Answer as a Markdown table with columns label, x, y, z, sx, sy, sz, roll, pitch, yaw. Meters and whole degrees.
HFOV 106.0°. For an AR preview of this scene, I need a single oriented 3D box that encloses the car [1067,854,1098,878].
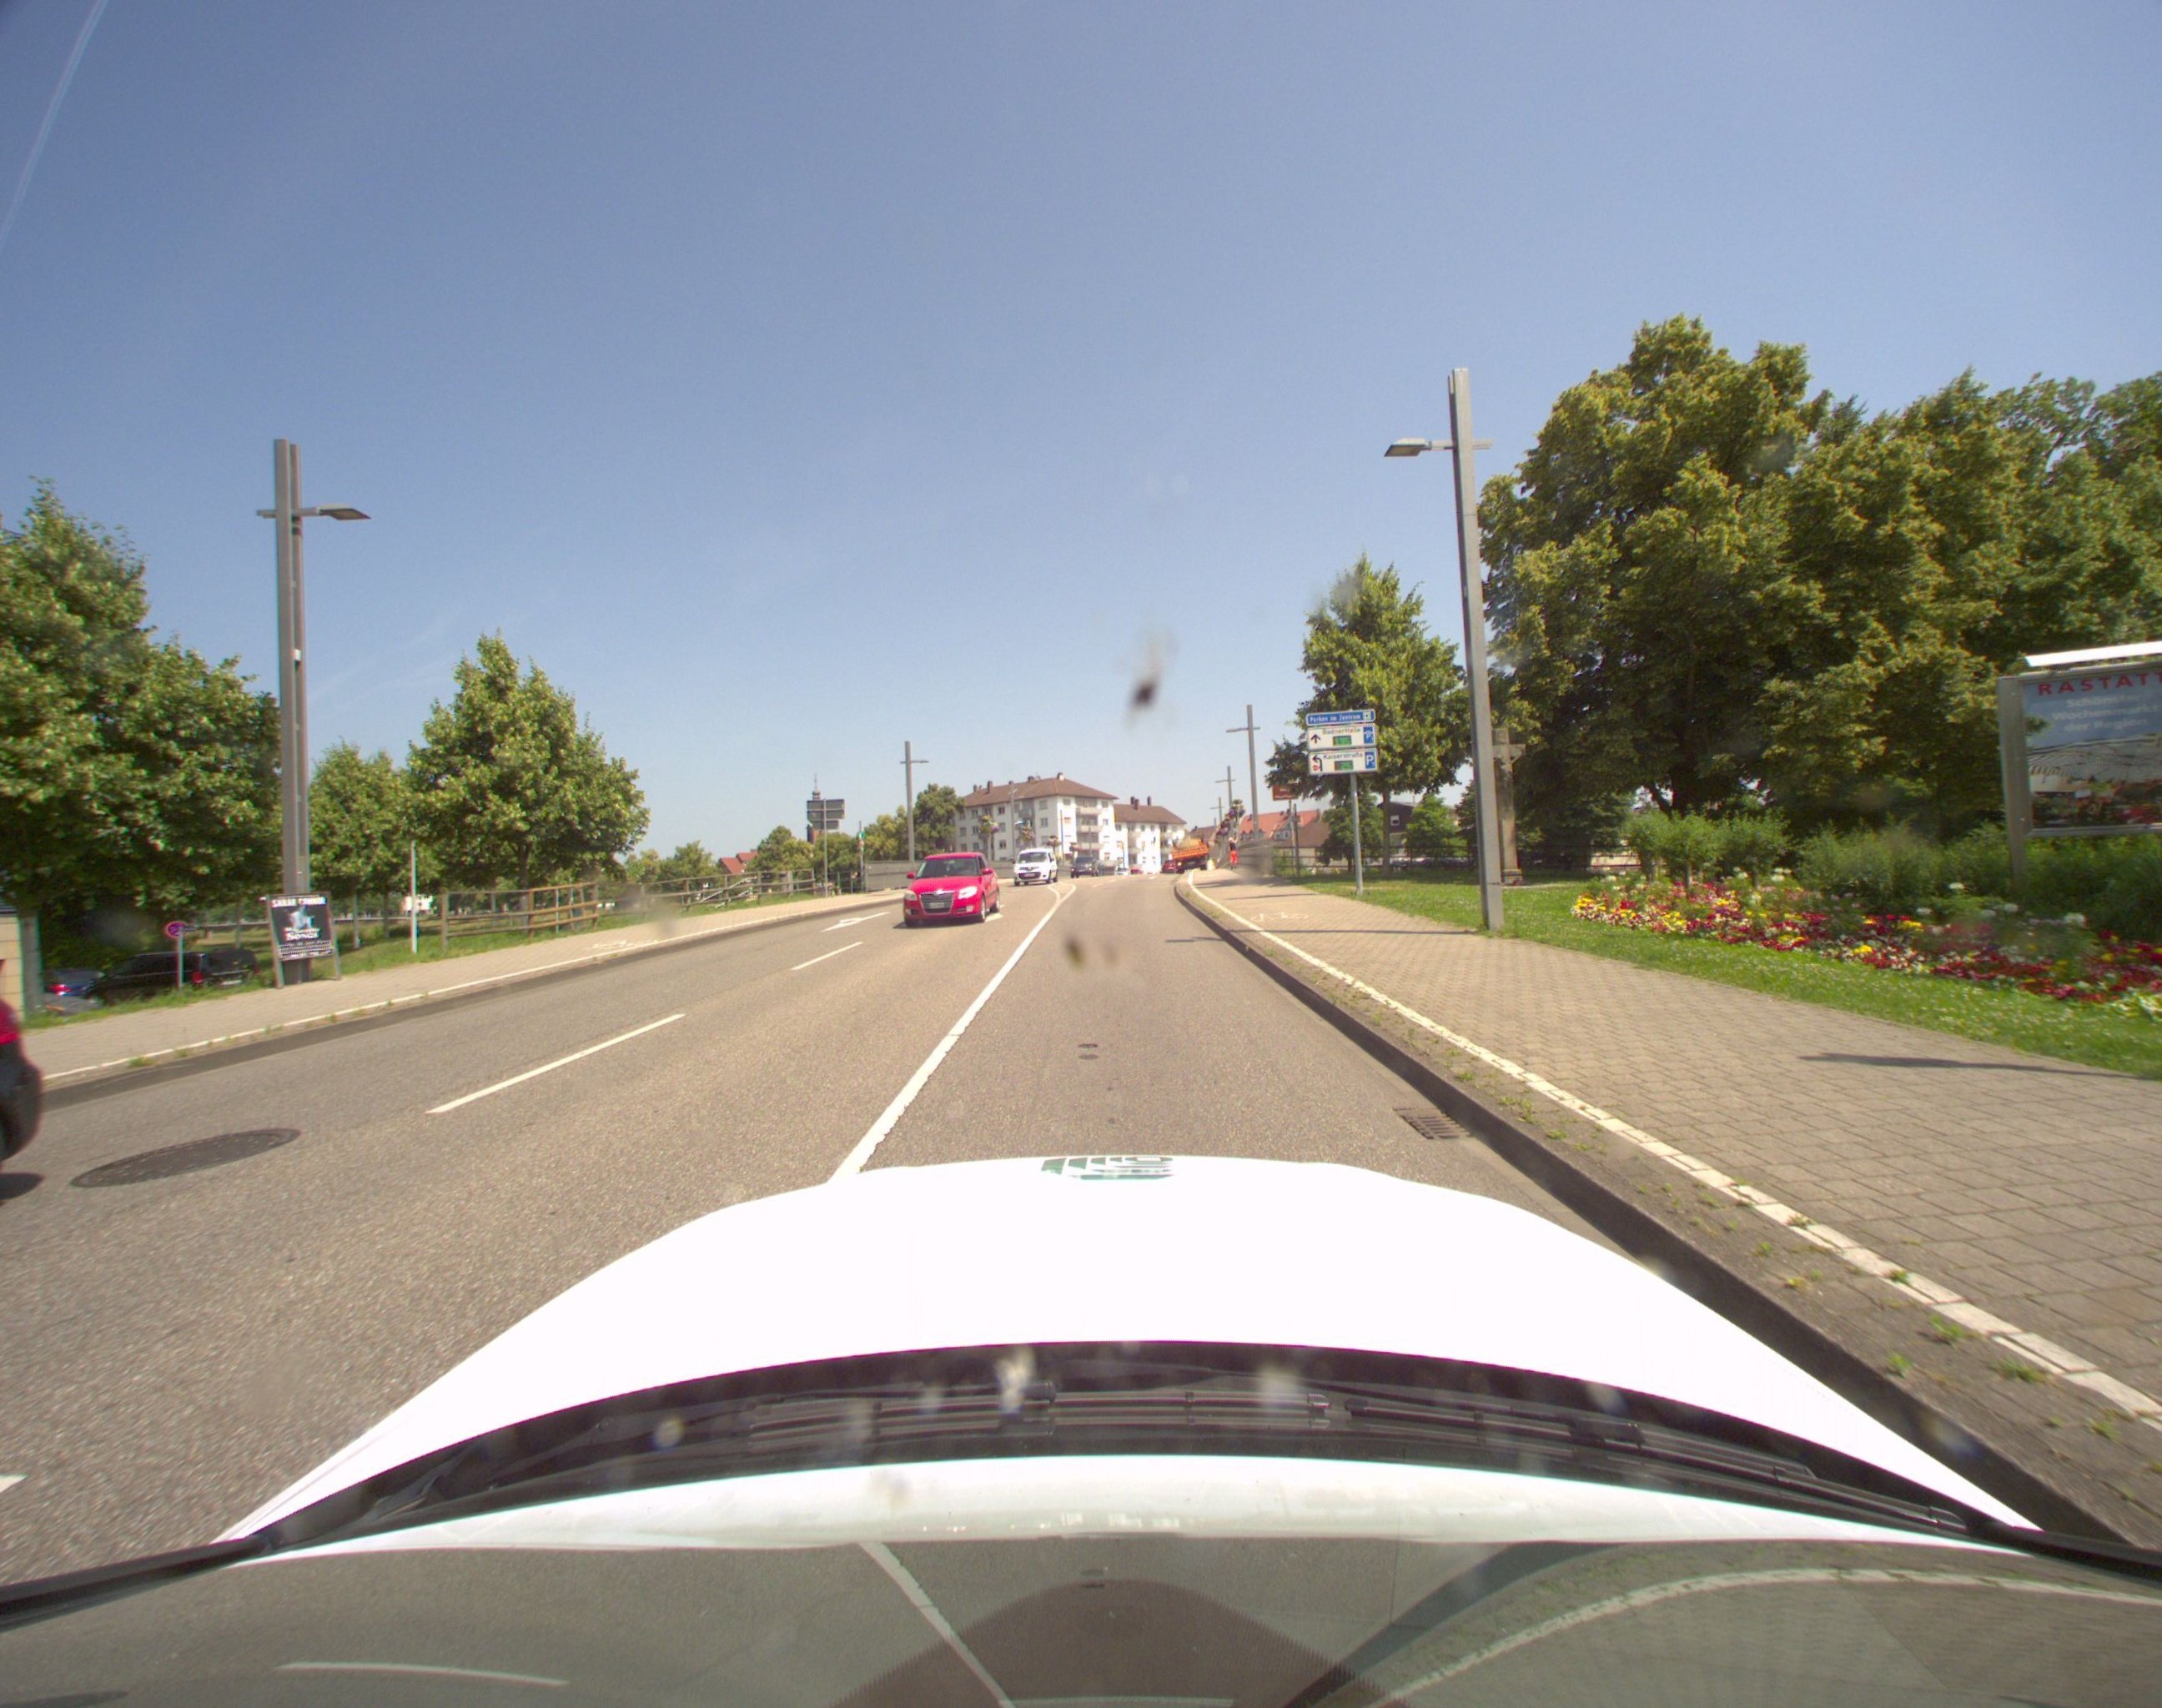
| label | x | y | z | sx | sy | sz | roll | pitch | yaw |
| --- | --- | --- | --- | --- | --- | --- | --- | --- | --- |
| car | 0.172 | 0.909 | 60.705 | 1.728 | 1.640 | 3.928 | -5 | -2 | 7 |

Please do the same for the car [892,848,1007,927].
| label | x | y | z | sx | sy | sz | roll | pitch | yaw |
| --- | --- | --- | --- | --- | --- | --- | --- | --- | --- |
| car | -2.768 | 0.663 | 17.990 | 1.640 | 1.464 | 3.864 | -3 | 0 | 3 |

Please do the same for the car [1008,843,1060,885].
| label | x | y | z | sx | sy | sz | roll | pitch | yaw |
| --- | --- | --- | --- | --- | --- | --- | --- | --- | --- |
| car | -2.271 | 0.449 | 40.772 | 1.828 | 1.860 | 4.670 | -4 | 0 | 5 |

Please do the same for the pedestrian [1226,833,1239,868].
| label | x | y | z | sx | sy | sz | roll | pitch | yaw |
| --- | --- | --- | --- | --- | --- | --- | --- | --- | --- |
| pedestrian | 8.652 | -0.182 | 46.590 | 0.545 | 1.960 | 0.672 | -3 | -2 | -1 |

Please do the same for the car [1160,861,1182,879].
| label | x | y | z | sx | sy | sz | roll | pitch | yaw |
| --- | --- | --- | --- | --- | --- | --- | --- | --- | --- |
| car | 9.072 | 1.600 | 82.142 | 1.980 | 1.613 | 4.349 | -3 | -2 | 6 |

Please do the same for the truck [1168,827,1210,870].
| label | x | y | z | sx | sy | sz | roll | pitch | yaw |
| --- | --- | --- | --- | --- | --- | --- | --- | --- | --- |
| truck | 7.567 | -0.336 | 56.736 | 2.591 | 2.691 | 5.836 | -3 | -1 | 8 |

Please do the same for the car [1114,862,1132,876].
| label | x | y | z | sx | sy | sz | roll | pitch | yaw |
| --- | --- | --- | --- | --- | --- | --- | --- | --- | --- |
| car | 4.839 | 1.766 | 93.795 | 1.689 | 1.359 | 4.464 | 1 | -4 | 8 |

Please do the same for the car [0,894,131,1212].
| label | x | y | z | sx | sy | sz | roll | pitch | yaw |
| --- | --- | --- | --- | --- | --- | --- | --- | --- | --- |
| car | -6.071 | 1.029 | 2.385 | 1.708 | 1.485 | 4.032 | -4 | 0 | 1 |
